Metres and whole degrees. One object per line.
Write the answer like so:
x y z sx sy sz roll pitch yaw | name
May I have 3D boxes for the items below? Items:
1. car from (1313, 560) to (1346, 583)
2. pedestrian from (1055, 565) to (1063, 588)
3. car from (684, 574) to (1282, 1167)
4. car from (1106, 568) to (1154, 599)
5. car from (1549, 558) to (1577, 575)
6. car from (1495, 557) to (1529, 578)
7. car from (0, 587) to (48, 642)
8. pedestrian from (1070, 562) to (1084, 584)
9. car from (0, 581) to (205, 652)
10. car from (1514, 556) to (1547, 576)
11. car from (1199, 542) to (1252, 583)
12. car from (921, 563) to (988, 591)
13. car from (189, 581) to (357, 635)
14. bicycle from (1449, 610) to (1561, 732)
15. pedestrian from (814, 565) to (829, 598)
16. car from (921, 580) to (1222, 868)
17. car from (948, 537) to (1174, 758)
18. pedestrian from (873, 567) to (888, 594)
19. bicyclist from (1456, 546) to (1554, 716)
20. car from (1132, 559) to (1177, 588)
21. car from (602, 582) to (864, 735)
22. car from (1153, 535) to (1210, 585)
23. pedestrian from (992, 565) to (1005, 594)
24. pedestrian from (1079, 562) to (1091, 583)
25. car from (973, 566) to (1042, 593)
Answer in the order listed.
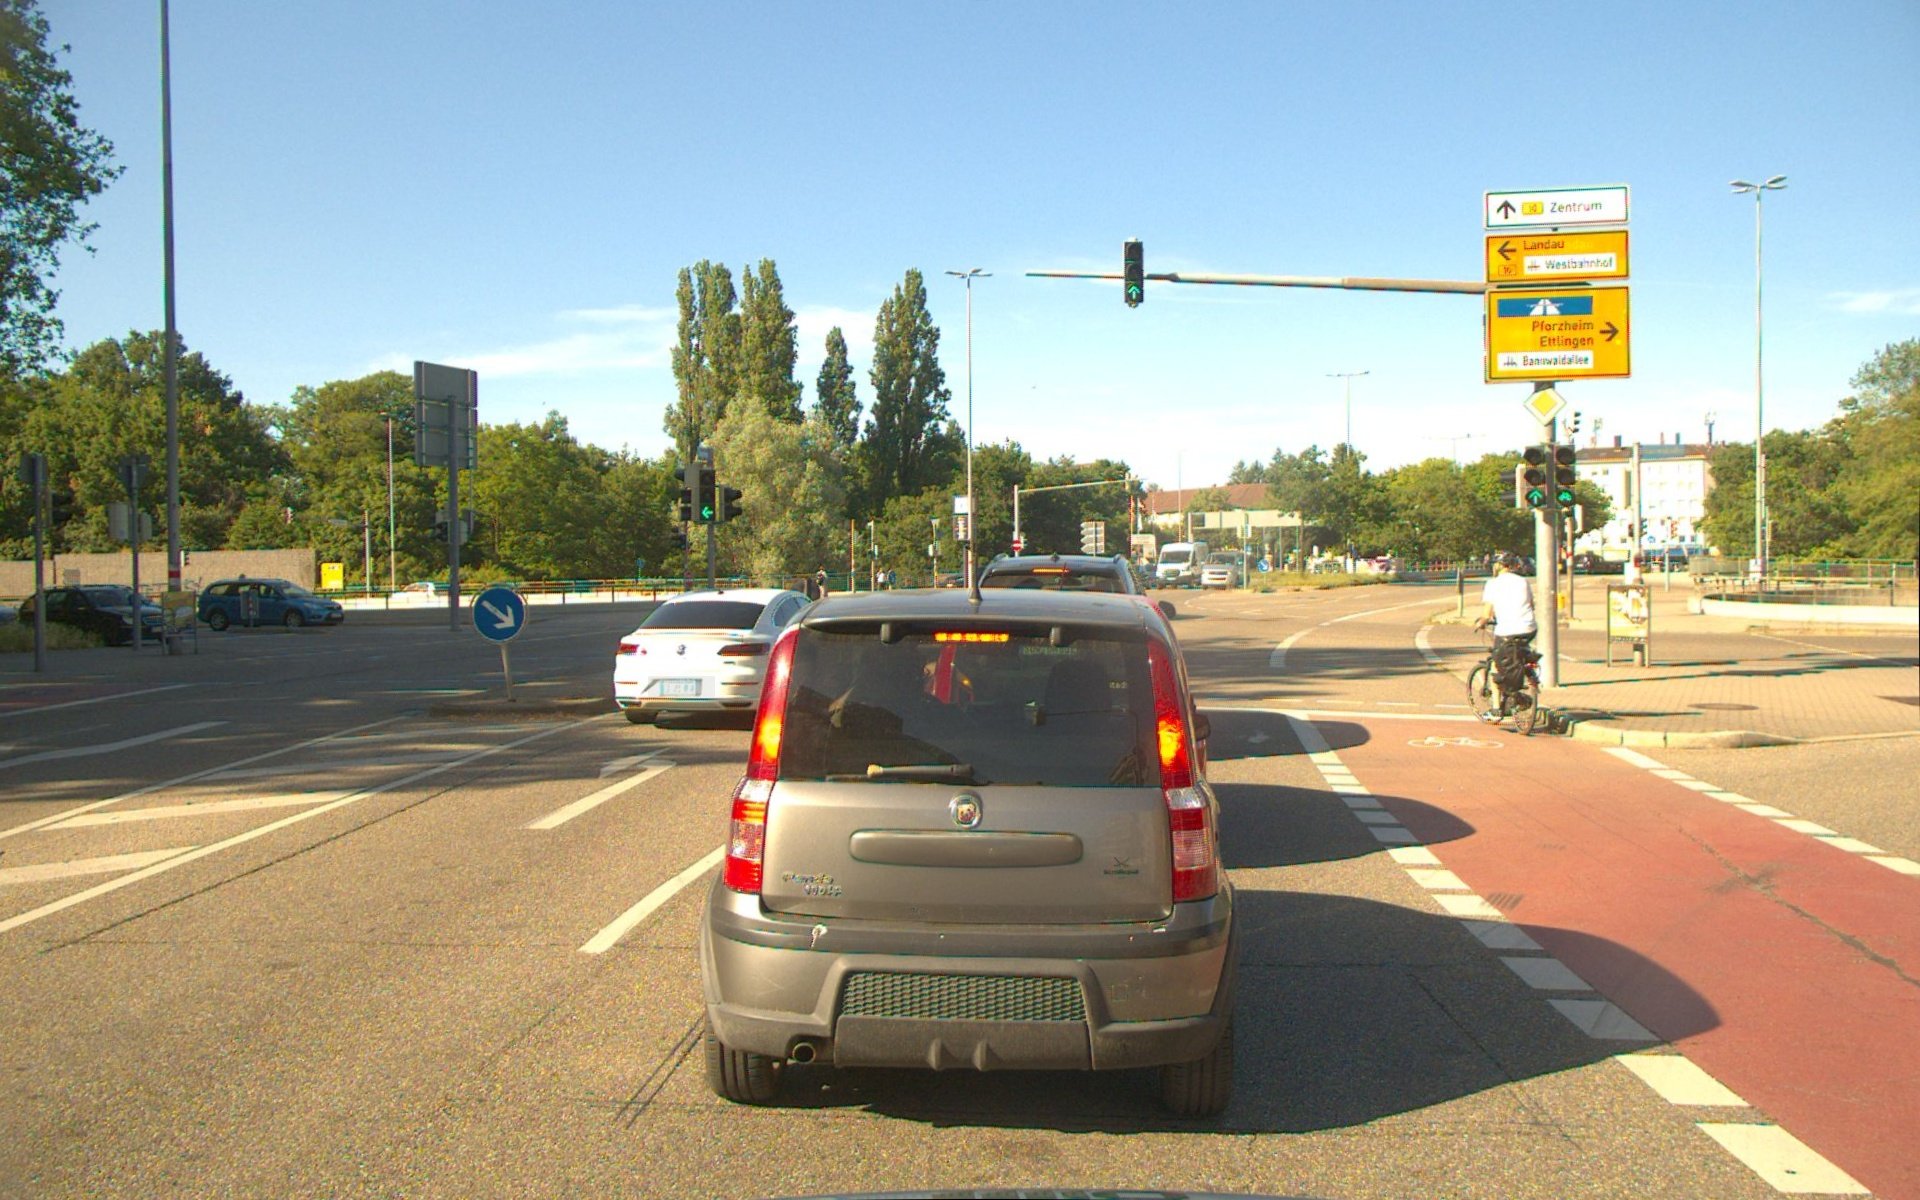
27.719 -2.150 124.083 1.896 1.650 4.508 0 1 19 | car
7.511 -1.771 125.575 0.488 1.731 0.500 1 -1 24 | pedestrian
0.204 0.696 6.327 1.583 1.542 3.822 -1 1 4 | car
9.449 -0.933 91.909 1.896 1.534 4.003 -2 1 17 | car
56.099 -3.117 153.906 1.908 1.555 4.092 0 1 28 | car
42.441 -2.512 127.044 1.907 1.555 4.093 0 1 27 | car
-26.379 0.375 43.545 4.404 1.381 1.879 0 1 24 | car
8.849 -2.038 125.068 0.777 1.693 0.626 0 -1 40 | pedestrian
-21.044 0.392 40.242 4.668 1.649 1.953 0 1 15 | car
45.925 -2.734 133.059 1.908 1.555 4.093 0 1 27 | car
13.988 -1.974 87.000 1.896 2.043 4.933 0 1 19 | car
-0.321 -1.405 104.119 3.961 1.653 1.874 1 0 -39 | car
-20.746 0.237 50.010 4.348 1.567 1.953 -1 1 13 | car
5.594 0.698 17.080 0.676 1.121 1.827 0 1 5 | bicycle
-6.265 -0.837 74.765 0.666 1.488 0.702 -1 1 -7 | pedestrian
0.739 0.643 10.681 1.583 1.488 3.753 -1 1 4 | car
1.117 0.368 16.185 1.904 1.872 4.156 -1 1 7 | car
-4.640 -1.134 96.379 0.698 1.574 0.725 -2 -1 -16 | pedestrian
5.592 0.291 17.023 0.709 1.688 1.114 0 1 5 | bicyclist
11.620 -1.603 98.543 1.773 1.568 4.619 -2 1 18 | car
-2.369 0.551 18.412 1.742 1.439 4.323 0 1 8 | car
12.216 -2.191 90.962 1.896 2.621 6.091 0 1 19 | car
2.164 -1.141 92.254 0.547 1.574 0.573 -2 0 -16 | pedestrian
9.750 -2.156 129.223 0.706 1.670 0.672 1 -1 24 | pedestrian
2.952 -1.299 102.083 4.292 1.562 1.758 -2 3 -42 | car
